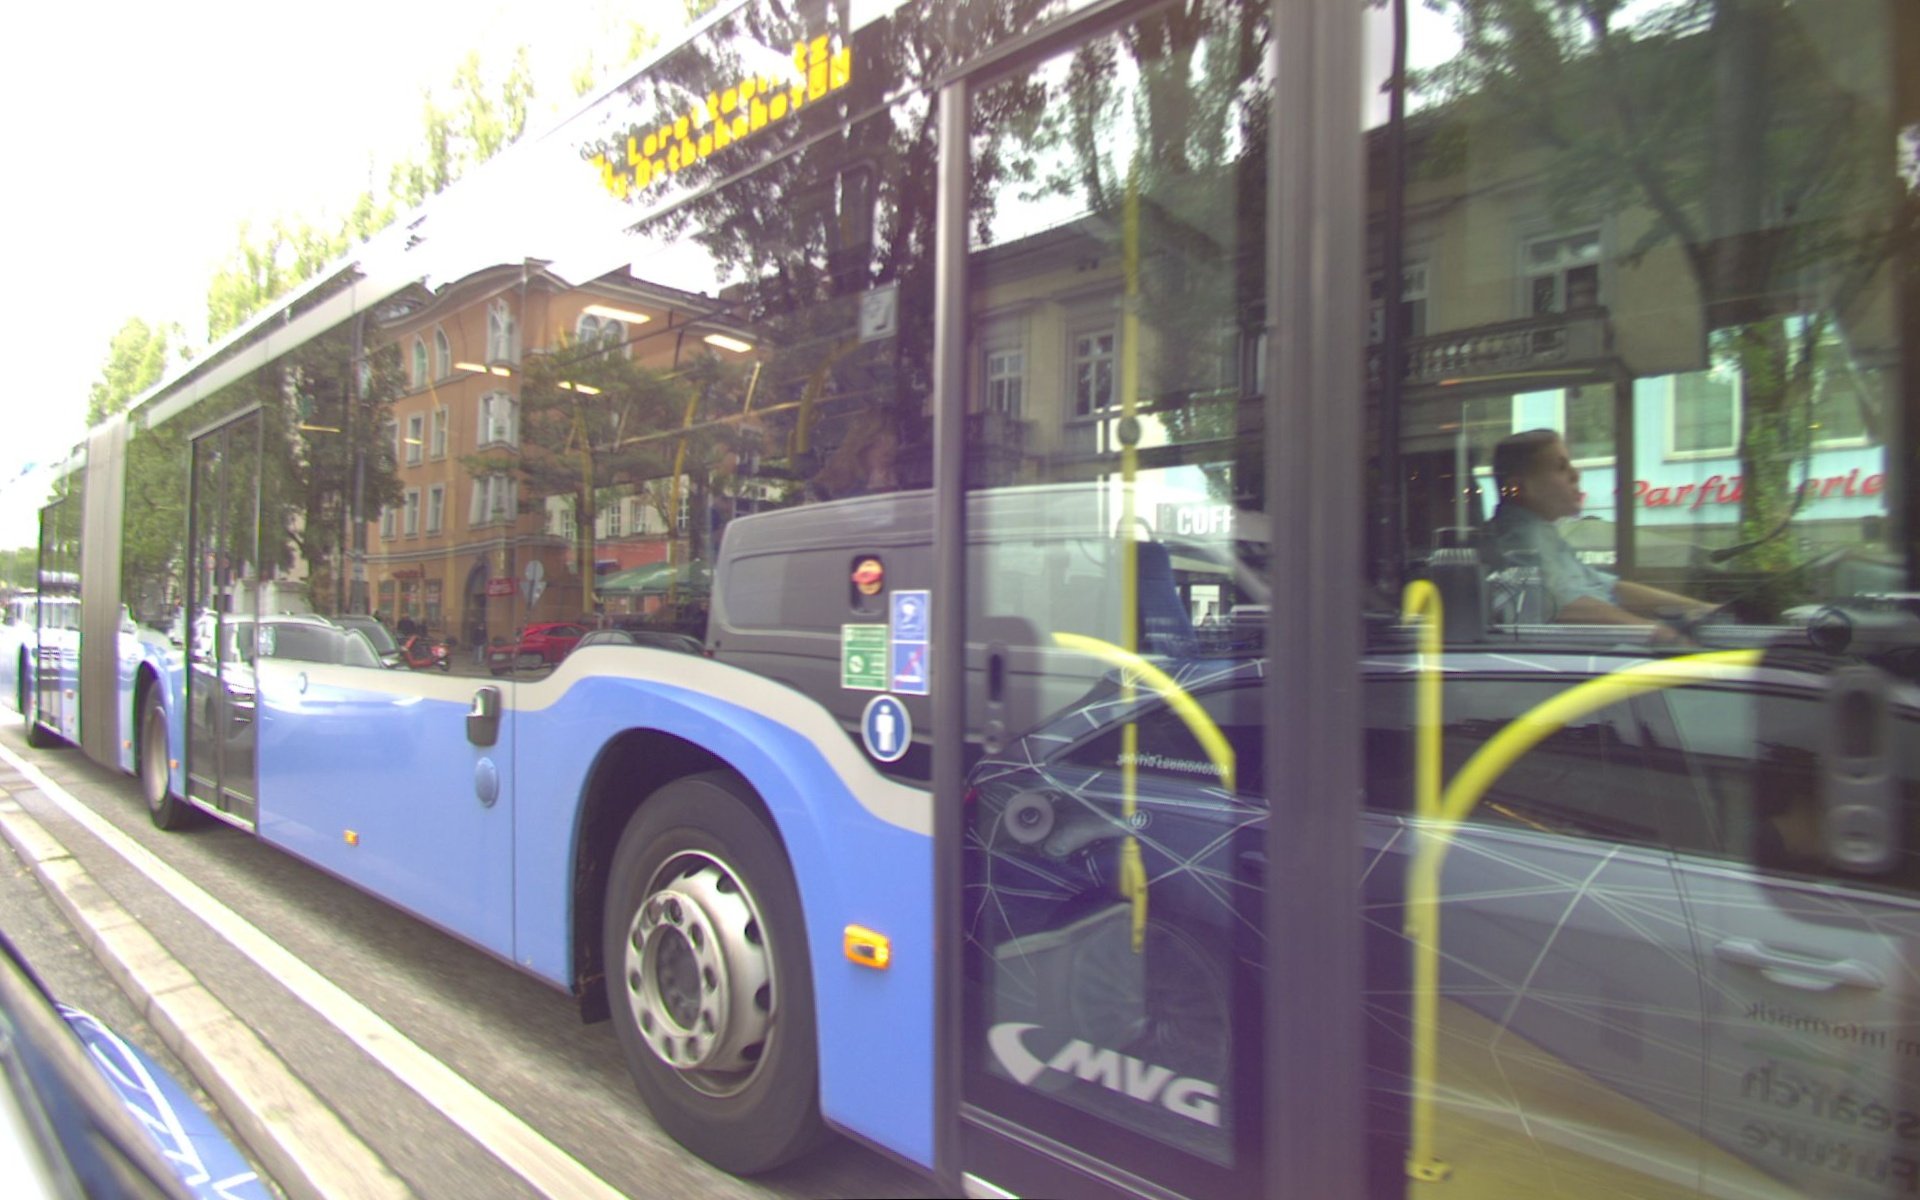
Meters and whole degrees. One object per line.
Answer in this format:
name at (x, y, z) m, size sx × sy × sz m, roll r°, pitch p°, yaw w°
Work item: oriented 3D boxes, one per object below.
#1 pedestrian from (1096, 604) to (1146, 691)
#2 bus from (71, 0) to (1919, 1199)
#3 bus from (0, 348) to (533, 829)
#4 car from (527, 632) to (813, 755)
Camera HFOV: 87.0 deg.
pedestrian at (3.682, 1.074, 23.123) m, size 0.905 × 1.941 × 0.690 m, roll -1°, pitch -3°, yaw 44°
bus at (-1.484, -0.107, 4.735) m, size 10.047 × 2.972 × 2.661 m, roll -1°, pitch -2°, yaw 41°
bus at (-8.151, 0.011, 10.564) m, size 10.047 × 2.972 × 2.655 m, roll -1°, pitch -2°, yaw 41°
car at (-4.317, 1.232, 14.622) m, size 4.710 × 1.473 × 1.680 m, roll -1°, pitch -3°, yaw 41°
